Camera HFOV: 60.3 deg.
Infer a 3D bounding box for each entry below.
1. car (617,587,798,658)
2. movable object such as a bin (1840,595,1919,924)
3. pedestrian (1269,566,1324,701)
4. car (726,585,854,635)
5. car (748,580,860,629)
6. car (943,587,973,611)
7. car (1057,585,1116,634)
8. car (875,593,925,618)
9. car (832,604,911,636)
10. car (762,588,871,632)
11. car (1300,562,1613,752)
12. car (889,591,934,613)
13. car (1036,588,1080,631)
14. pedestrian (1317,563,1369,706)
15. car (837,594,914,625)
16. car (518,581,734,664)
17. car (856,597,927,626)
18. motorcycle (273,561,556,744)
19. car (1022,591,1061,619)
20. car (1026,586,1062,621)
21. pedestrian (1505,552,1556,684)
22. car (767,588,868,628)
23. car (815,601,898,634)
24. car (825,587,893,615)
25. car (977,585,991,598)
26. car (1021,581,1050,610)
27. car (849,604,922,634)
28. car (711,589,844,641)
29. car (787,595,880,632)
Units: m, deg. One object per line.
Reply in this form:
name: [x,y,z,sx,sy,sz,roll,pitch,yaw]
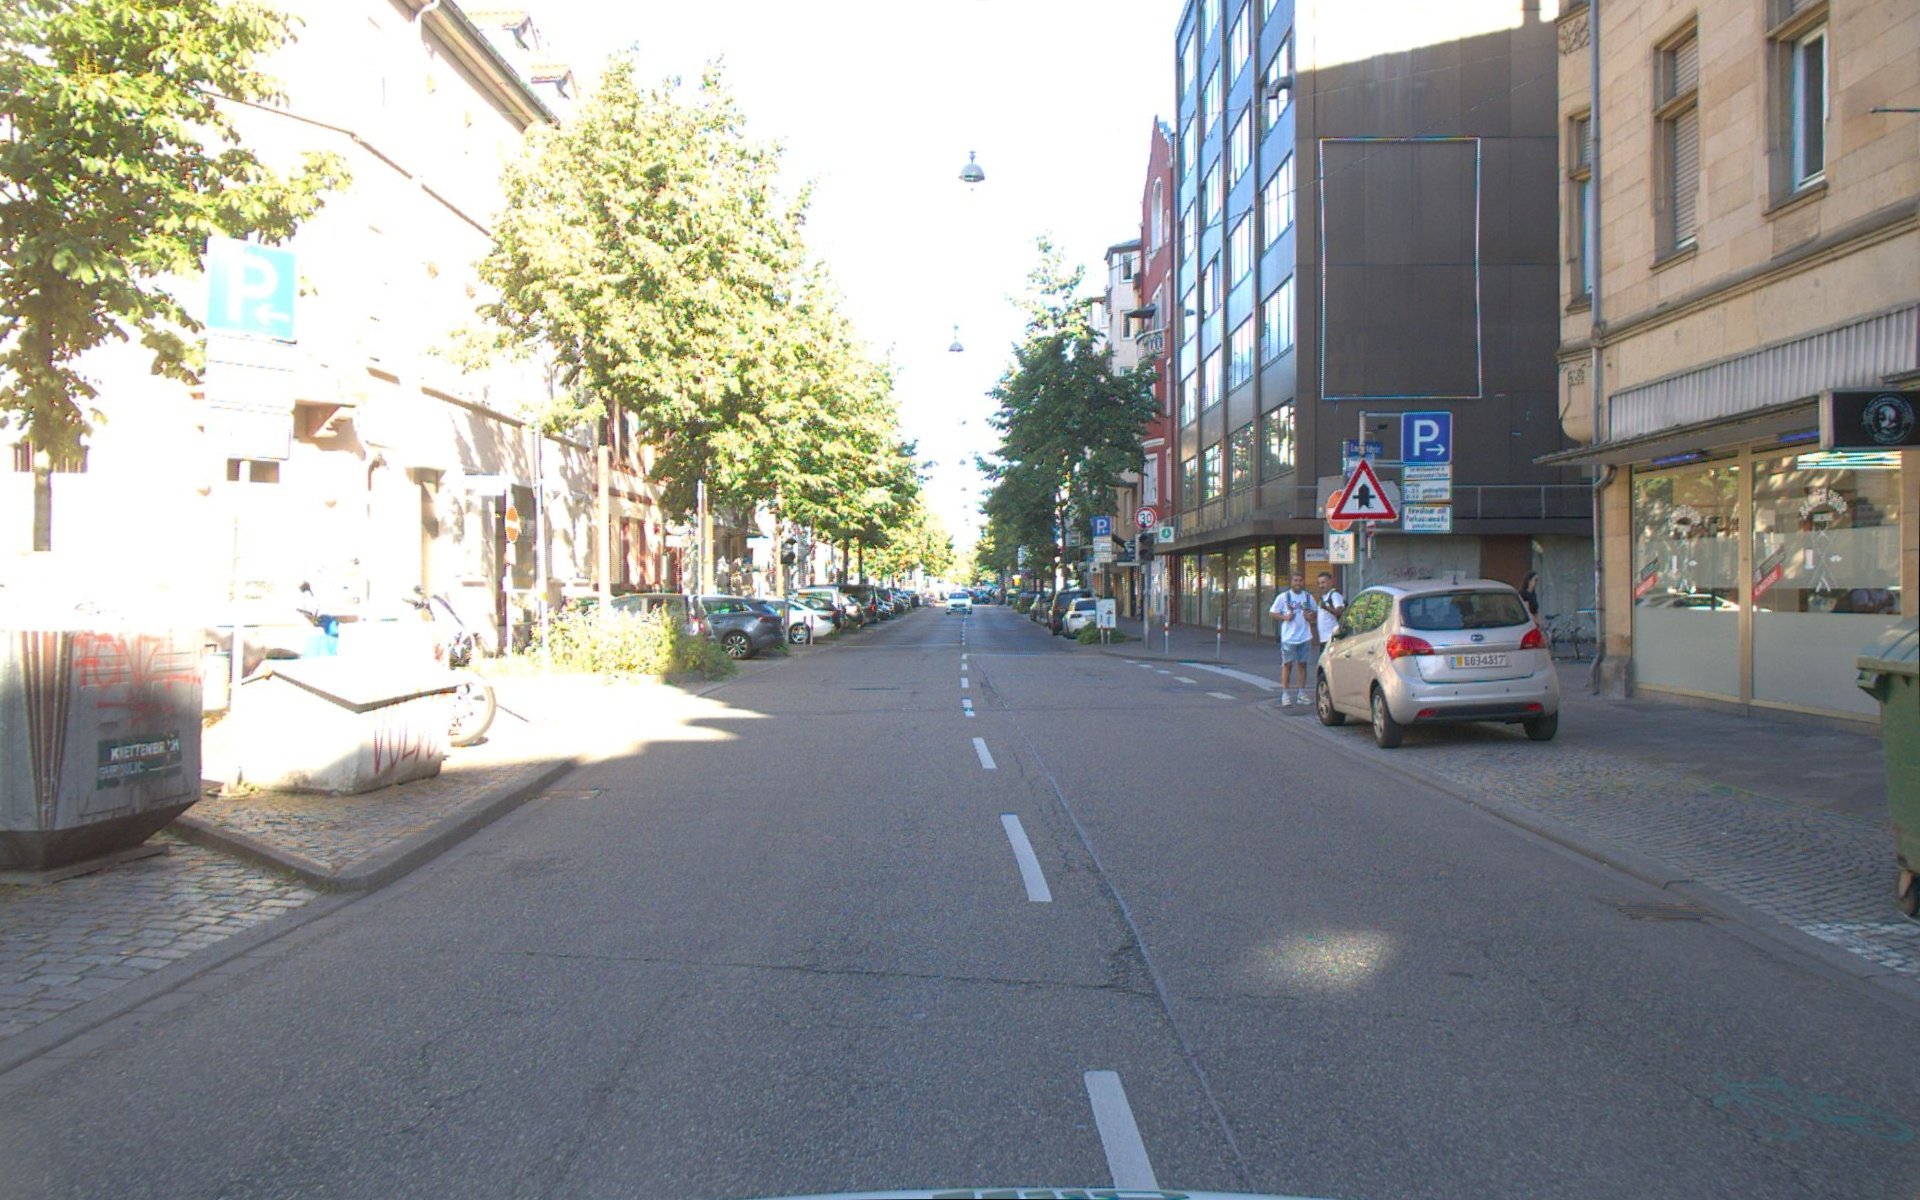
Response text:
car: [-5.901,0.527,39.032,3.904,1.534,2.000,1,-1,1]
movable object such as a bin: [4.885,0.722,7.485,1.051,1.482,1.493,-3,1,5]
pedestrian: [4.502,0.444,22.157,0.601,1.765,0.634,1,-1,2]
car: [-5.516,0.335,54.096,3.904,1.534,2.000,1,-1,1]
car: [-5.784,0.161,61.616,3.904,1.703,2.089,1,-1,1]
car: [-0.142,-0.066,114.743,1.952,1.583,4.000,1,-1,1]
car: [4.490,0.366,59.140,1.952,1.646,4.011,2,-1,3]
car: [-5.135,0.467,141.141,3.902,2.049,2.002,1,0,10]
car: [-4.652,1.050,87.310,3.903,1.534,2.001,2,-1,4]
car: [-5.464,0.381,63.236,3.904,1.534,2.000,1,-1,1]
car: [5.062,0.554,17.614,1.860,1.704,4.824,1,-1,0]
car: [-4.527,0.191,154.325,3.902,2.049,2.002,1,0,10]
car: [4.916,0.496,83.386,1.953,2.049,3.999,1,-1,0]
pedestrian: [4.980,0.446,21.516,0.502,1.811,0.612,1,-1,-2]
car: [-4.540,0.513,89.684,3.903,1.534,2.001,2,-1,4]
car: [-6.715,0.453,33.573,3.904,1.534,2.000,1,-1,1]
car: [-4.000,0.701,97.261,3.903,1.534,2.001,2,-1,4]
motorcycle: [-5.150,0.484,15.632,2.420,1.632,1.000,-1,0,19]
car: [4.491,0.284,91.561,1.953,1.478,4.000,1,0,0]
car: [5.175,0.205,102.110,1.953,2.049,4.000,-1,0,0]
pedestrian: [8.362,0.264,24.233,0.632,1.904,0.627,1,-1,23]
car: [-5.834,0.316,67.820,3.904,1.534,1.895,1,-1,1]
car: [-5.234,0.889,84.020,3.903,1.534,2.001,2,-1,4]
car: [-6.292,0.054,103.024,3.903,1.534,2.001,2,-1,5]
car: [3.219,-1.098,218.375,1.832,1.583,4.000,1,-1,1]
car: [5.428,-0.304,119.246,1.953,2.049,4.000,1,0,0]
car: [-4.236,1.070,94.122,3.903,1.534,2.001,2,-1,4]
car: [-5.704,0.474,52.007,3.904,1.534,2.000,1,-1,1]
car: [-5.508,0.587,72.439,3.905,1.534,2.000,1,-1,0]
